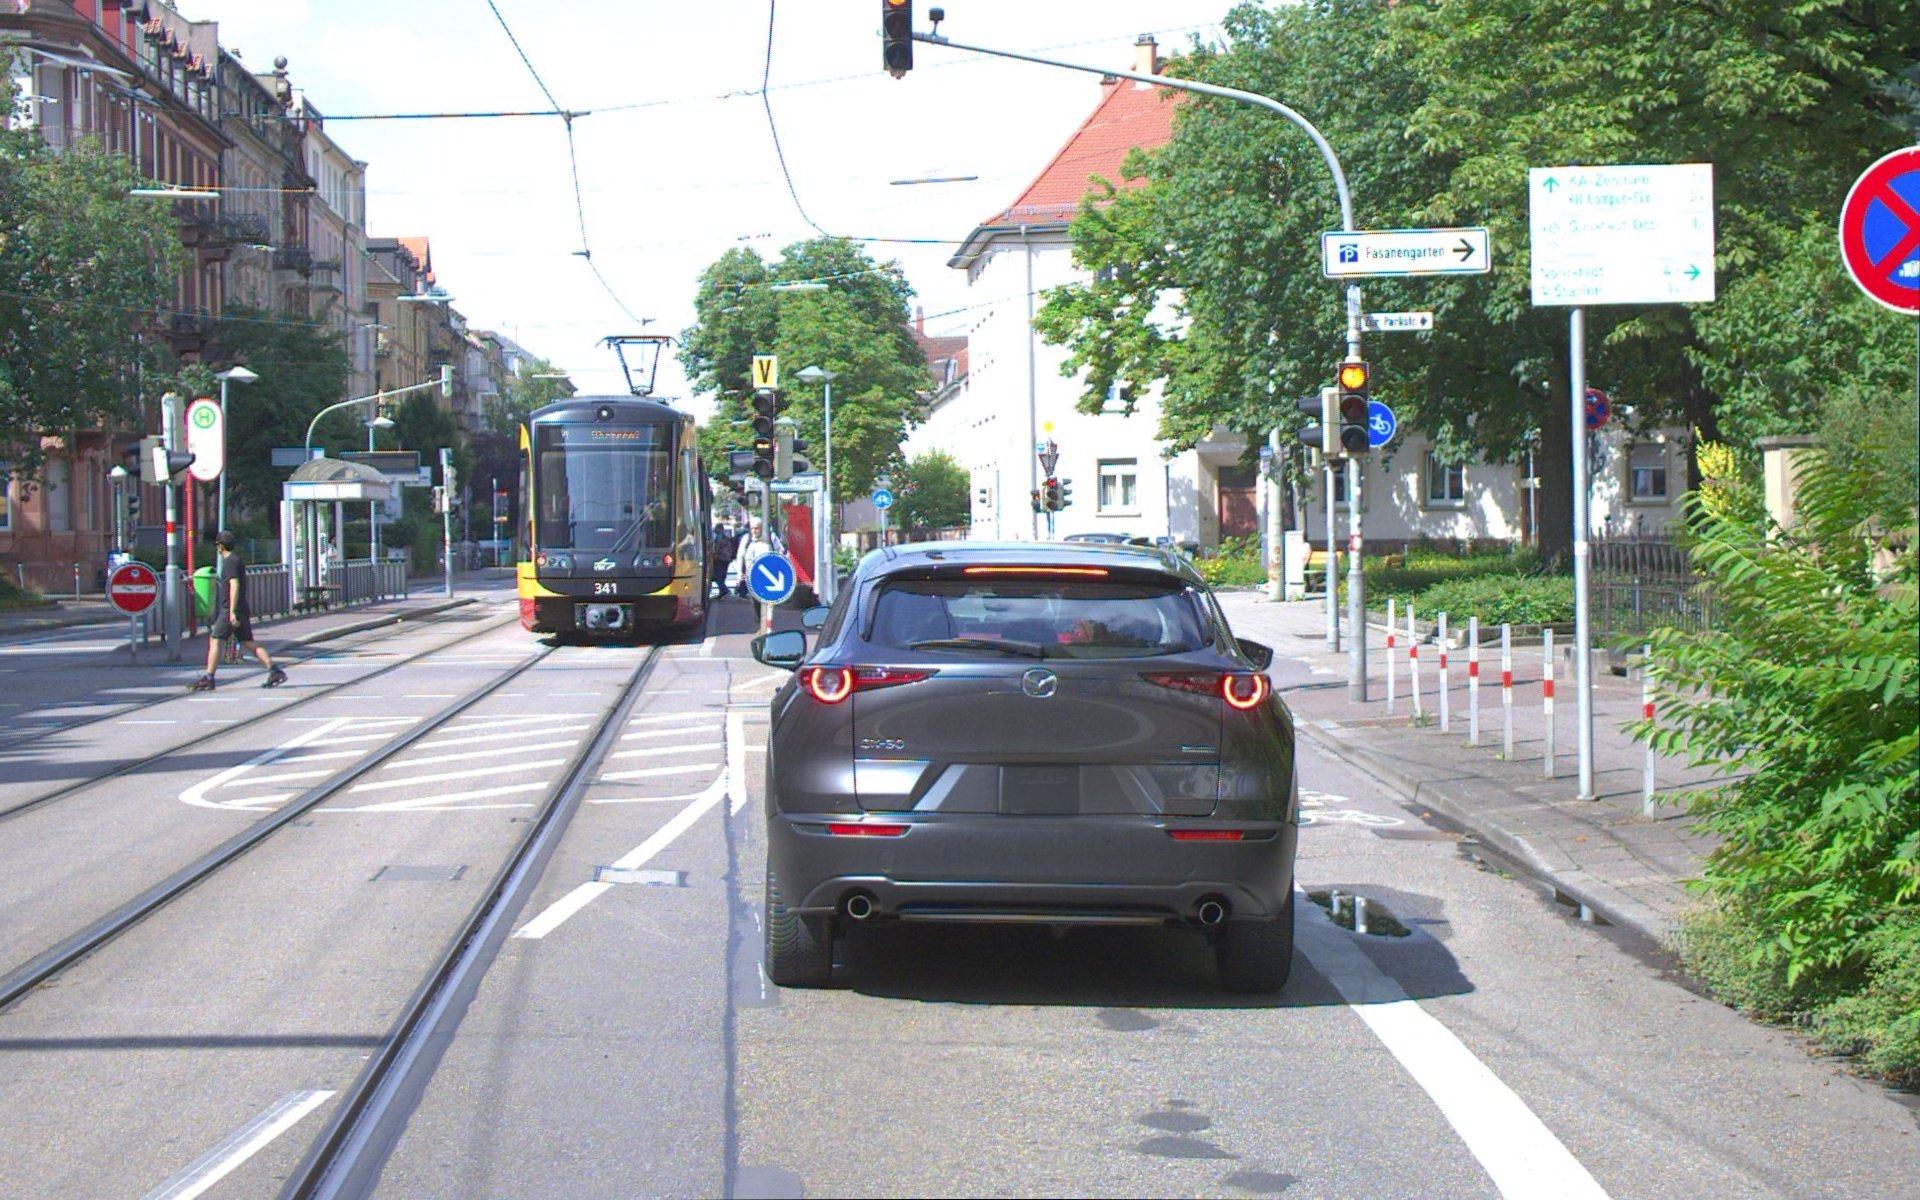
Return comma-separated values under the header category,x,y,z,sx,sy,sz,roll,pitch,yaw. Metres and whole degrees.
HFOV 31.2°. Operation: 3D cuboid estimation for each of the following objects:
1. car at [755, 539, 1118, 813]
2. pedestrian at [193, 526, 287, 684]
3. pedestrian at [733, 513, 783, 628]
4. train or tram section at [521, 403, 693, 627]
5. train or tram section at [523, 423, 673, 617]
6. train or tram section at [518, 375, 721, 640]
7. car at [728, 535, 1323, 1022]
category,x,y,z,sx,sy,sz,roll,pitch,yaw
car,-0.269,0.382,21.900,1.784,1.487,4.884,-1,1,-6
pedestrian,-7.406,0.042,35.362,0.874,1.599,0.632,-1,1,-7
pedestrian,-2.835,-0.422,48.211,0.667,1.599,0.700,-1,1,-5
train or tram section,-6.164,-1.417,59.248,2.651,3.515,8.498,-2,1,-7
train or tram section,-7.197,-1.526,67.698,2.651,3.515,8.498,-2,1,-7
train or tram section,-5.123,-1.309,50.788,2.651,3.515,8.498,-2,1,-7
car,0.065,0.523,13.018,1.789,1.507,4.352,0,1,-5
